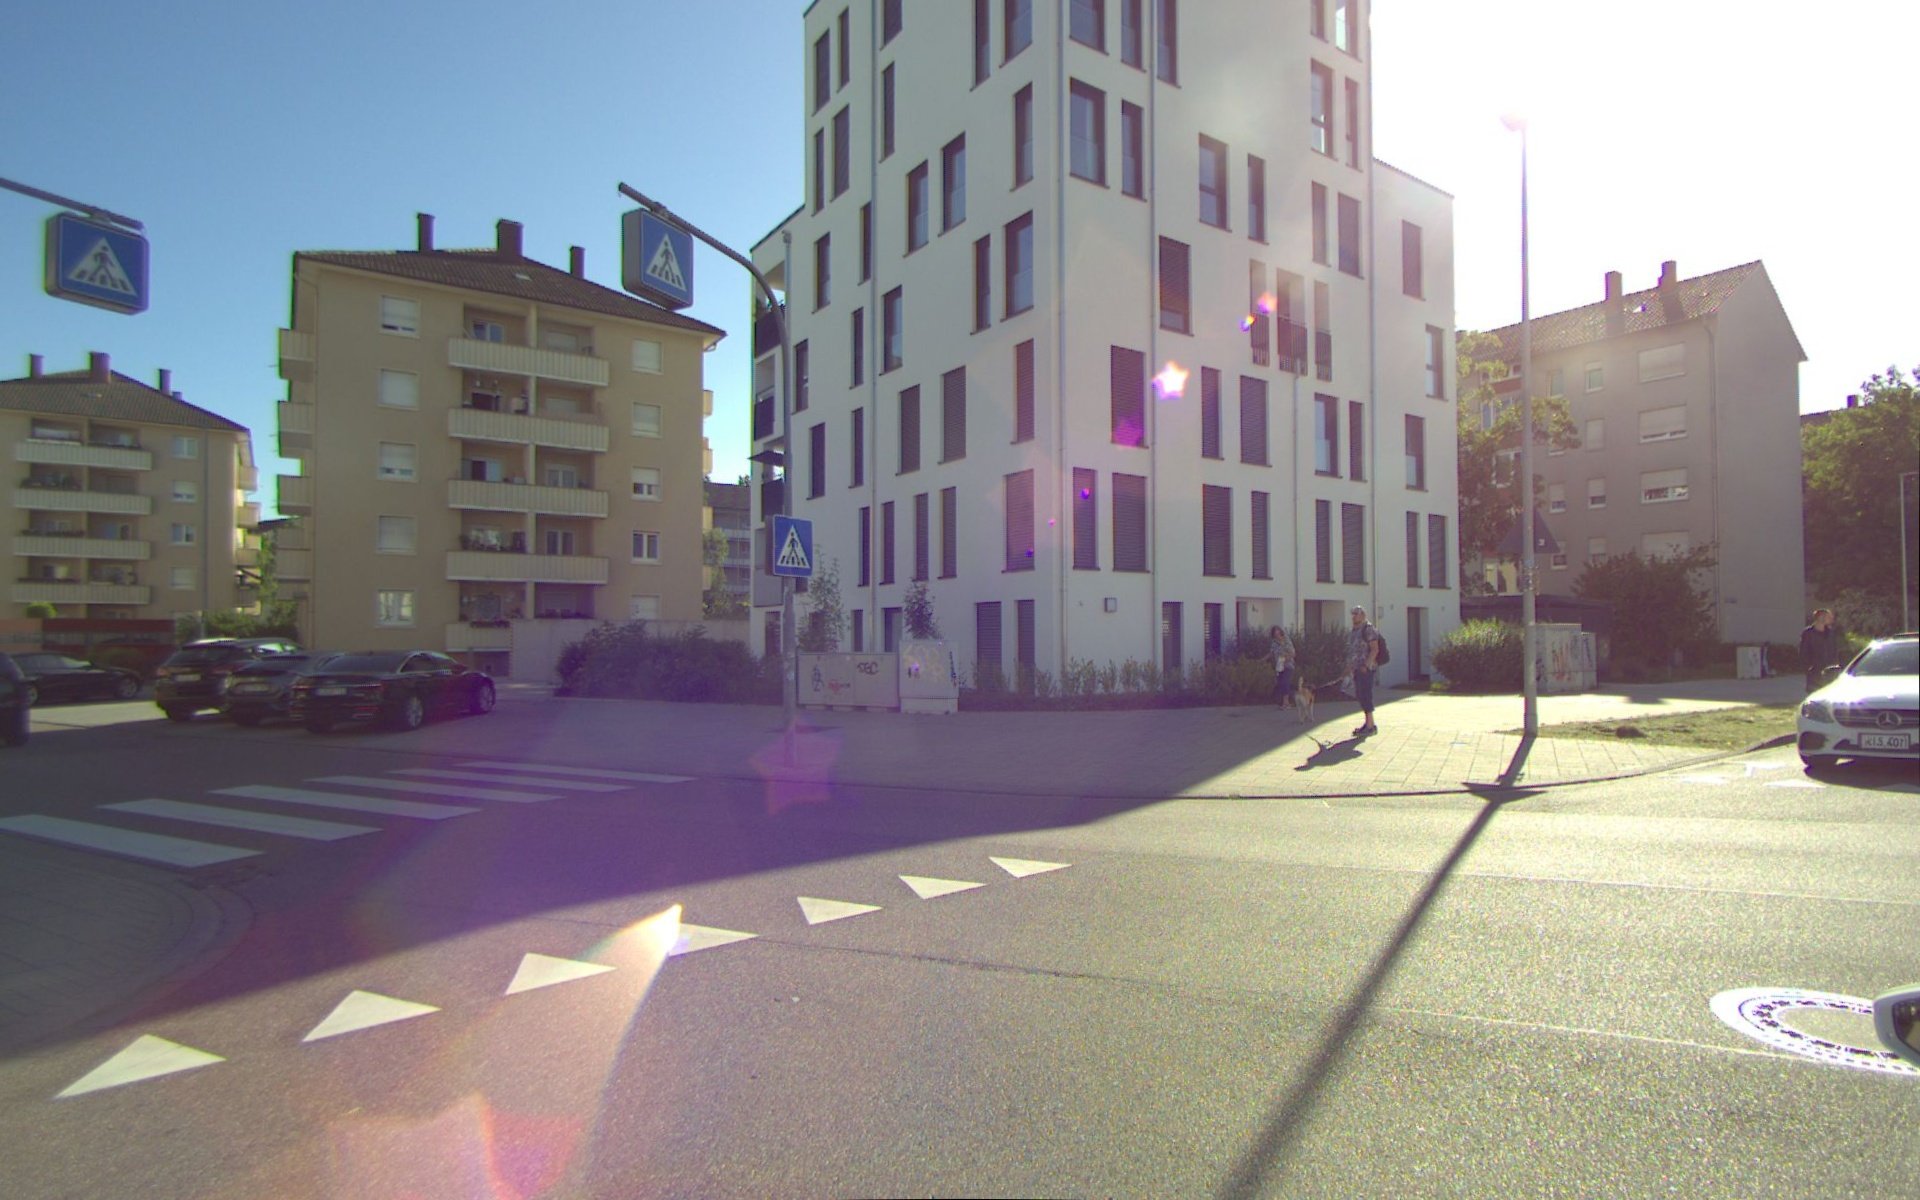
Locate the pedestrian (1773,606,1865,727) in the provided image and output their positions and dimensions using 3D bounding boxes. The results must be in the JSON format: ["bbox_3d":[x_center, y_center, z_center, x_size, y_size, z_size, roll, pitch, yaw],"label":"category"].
[{"bbox_3d":[12.907,0.974,15.094,0.971,1.737,0.864,1,-2,-39],"label":"pedestrian"}]

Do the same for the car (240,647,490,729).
[{"bbox_3d":[-10.958,1.574,18.974,1.960,1.182,4.565,-1,-1,1],"label":"car"}]

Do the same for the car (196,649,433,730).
[{"bbox_3d":[-13.247,1.786,21.038,1.960,1.450,4.566,-1,-3,1],"label":"car"}]

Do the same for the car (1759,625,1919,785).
[{"bbox_3d":[11.085,1.057,11.407,4.591,1.524,1.874,0,-4,-35],"label":"car"}]

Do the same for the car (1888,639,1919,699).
[{"bbox_3d":[25.081,1.764,25.459,3.964,1.439,1.655,2,-1,-37],"label":"car"}]

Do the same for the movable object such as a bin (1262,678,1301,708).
[{"bbox_3d":[6.174,1.776,19.276,0.675,0.549,0.271,1,-2,-15],"label":"movable object such as a bin"}]

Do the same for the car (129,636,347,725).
[{"bbox_3d":[-15.645,1.678,22.071,1.961,1.673,3.999,-1,-1,-2],"label":"car"}]

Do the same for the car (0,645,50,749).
[{"bbox_3d":[-16.946,1.522,16.442,4.038,1.550,1.740,1,-1,28],"label":"car"}]

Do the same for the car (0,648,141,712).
[{"bbox_3d":[-24.568,2.071,26.787,1.960,1.420,4.002,2,-1,5],"label":"car"}]

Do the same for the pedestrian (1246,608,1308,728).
[{"bbox_3d":[5.829,1.237,18.497,0.939,2.149,0.776,-1,-1,8],"label":"pedestrian"}]

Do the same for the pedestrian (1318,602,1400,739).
[{"bbox_3d":[5.829,1.002,14.666,0.835,1.910,0.786,1,-1,45],"label":"pedestrian"}]

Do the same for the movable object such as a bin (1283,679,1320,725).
[{"bbox_3d":[5.450,1.615,15.994,0.268,0.688,0.845,-1,-2,40],"label":"movable object such as a bin"}]

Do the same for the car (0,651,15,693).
[{"bbox_3d":[-32.565,2.330,31.423,1.959,1.327,4.003,1,-1,9],"label":"car"}]
